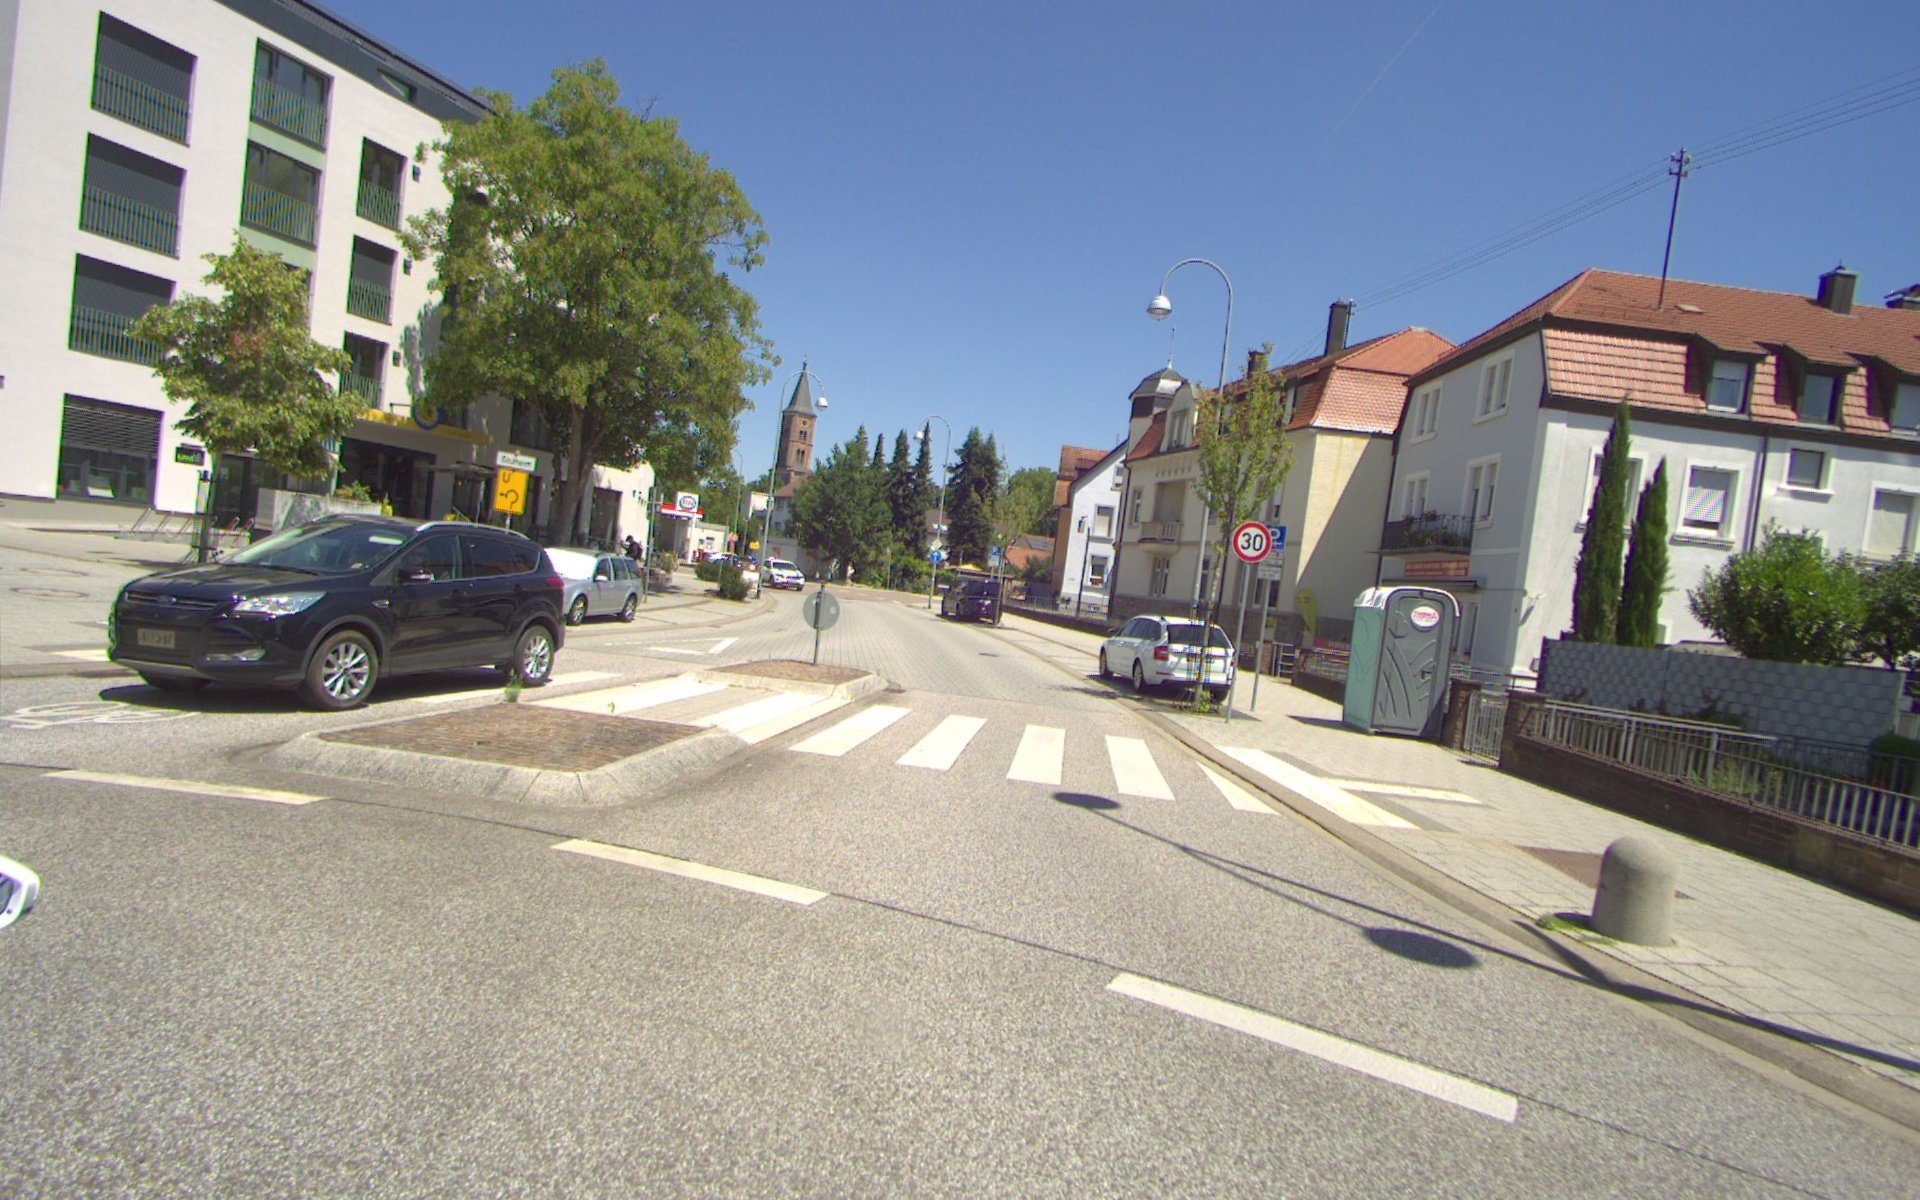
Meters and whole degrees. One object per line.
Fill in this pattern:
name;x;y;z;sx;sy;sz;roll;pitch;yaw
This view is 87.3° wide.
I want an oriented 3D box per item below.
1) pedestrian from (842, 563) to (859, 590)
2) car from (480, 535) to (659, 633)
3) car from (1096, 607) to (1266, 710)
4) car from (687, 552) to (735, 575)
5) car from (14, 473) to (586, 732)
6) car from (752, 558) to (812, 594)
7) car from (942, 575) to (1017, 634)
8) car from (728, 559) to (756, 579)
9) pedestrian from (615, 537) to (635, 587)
pedestrian;-7.728;-1.657;71.091;0.839;1.839;0.542;5;5;-43
car;-8.073;-0.319;21.213;1.768;1.610;3.998;9;1;4
car;4.143;1.040;19.672;1.963;1.605;4.281;2;1;-6
car;-23.898;-3.499;96.620;1.973;1.673;3.976;12;4;44
car;-5.748;0.018;9.653;1.962;1.710;4.527;6;1;9
car;-9.867;-1.361;55.679;1.817;1.595;3.964;5;2;-32
car;0.751;0.144;42.676;1.969;1.890;4.270;8;3;-13
car;-18.221;-2.632;83.856;1.524;1.396;3.977;6;1;-22
pedestrian;-11.510;-1.298;34.526;0.400;1.650;0.648;7;4;-14
